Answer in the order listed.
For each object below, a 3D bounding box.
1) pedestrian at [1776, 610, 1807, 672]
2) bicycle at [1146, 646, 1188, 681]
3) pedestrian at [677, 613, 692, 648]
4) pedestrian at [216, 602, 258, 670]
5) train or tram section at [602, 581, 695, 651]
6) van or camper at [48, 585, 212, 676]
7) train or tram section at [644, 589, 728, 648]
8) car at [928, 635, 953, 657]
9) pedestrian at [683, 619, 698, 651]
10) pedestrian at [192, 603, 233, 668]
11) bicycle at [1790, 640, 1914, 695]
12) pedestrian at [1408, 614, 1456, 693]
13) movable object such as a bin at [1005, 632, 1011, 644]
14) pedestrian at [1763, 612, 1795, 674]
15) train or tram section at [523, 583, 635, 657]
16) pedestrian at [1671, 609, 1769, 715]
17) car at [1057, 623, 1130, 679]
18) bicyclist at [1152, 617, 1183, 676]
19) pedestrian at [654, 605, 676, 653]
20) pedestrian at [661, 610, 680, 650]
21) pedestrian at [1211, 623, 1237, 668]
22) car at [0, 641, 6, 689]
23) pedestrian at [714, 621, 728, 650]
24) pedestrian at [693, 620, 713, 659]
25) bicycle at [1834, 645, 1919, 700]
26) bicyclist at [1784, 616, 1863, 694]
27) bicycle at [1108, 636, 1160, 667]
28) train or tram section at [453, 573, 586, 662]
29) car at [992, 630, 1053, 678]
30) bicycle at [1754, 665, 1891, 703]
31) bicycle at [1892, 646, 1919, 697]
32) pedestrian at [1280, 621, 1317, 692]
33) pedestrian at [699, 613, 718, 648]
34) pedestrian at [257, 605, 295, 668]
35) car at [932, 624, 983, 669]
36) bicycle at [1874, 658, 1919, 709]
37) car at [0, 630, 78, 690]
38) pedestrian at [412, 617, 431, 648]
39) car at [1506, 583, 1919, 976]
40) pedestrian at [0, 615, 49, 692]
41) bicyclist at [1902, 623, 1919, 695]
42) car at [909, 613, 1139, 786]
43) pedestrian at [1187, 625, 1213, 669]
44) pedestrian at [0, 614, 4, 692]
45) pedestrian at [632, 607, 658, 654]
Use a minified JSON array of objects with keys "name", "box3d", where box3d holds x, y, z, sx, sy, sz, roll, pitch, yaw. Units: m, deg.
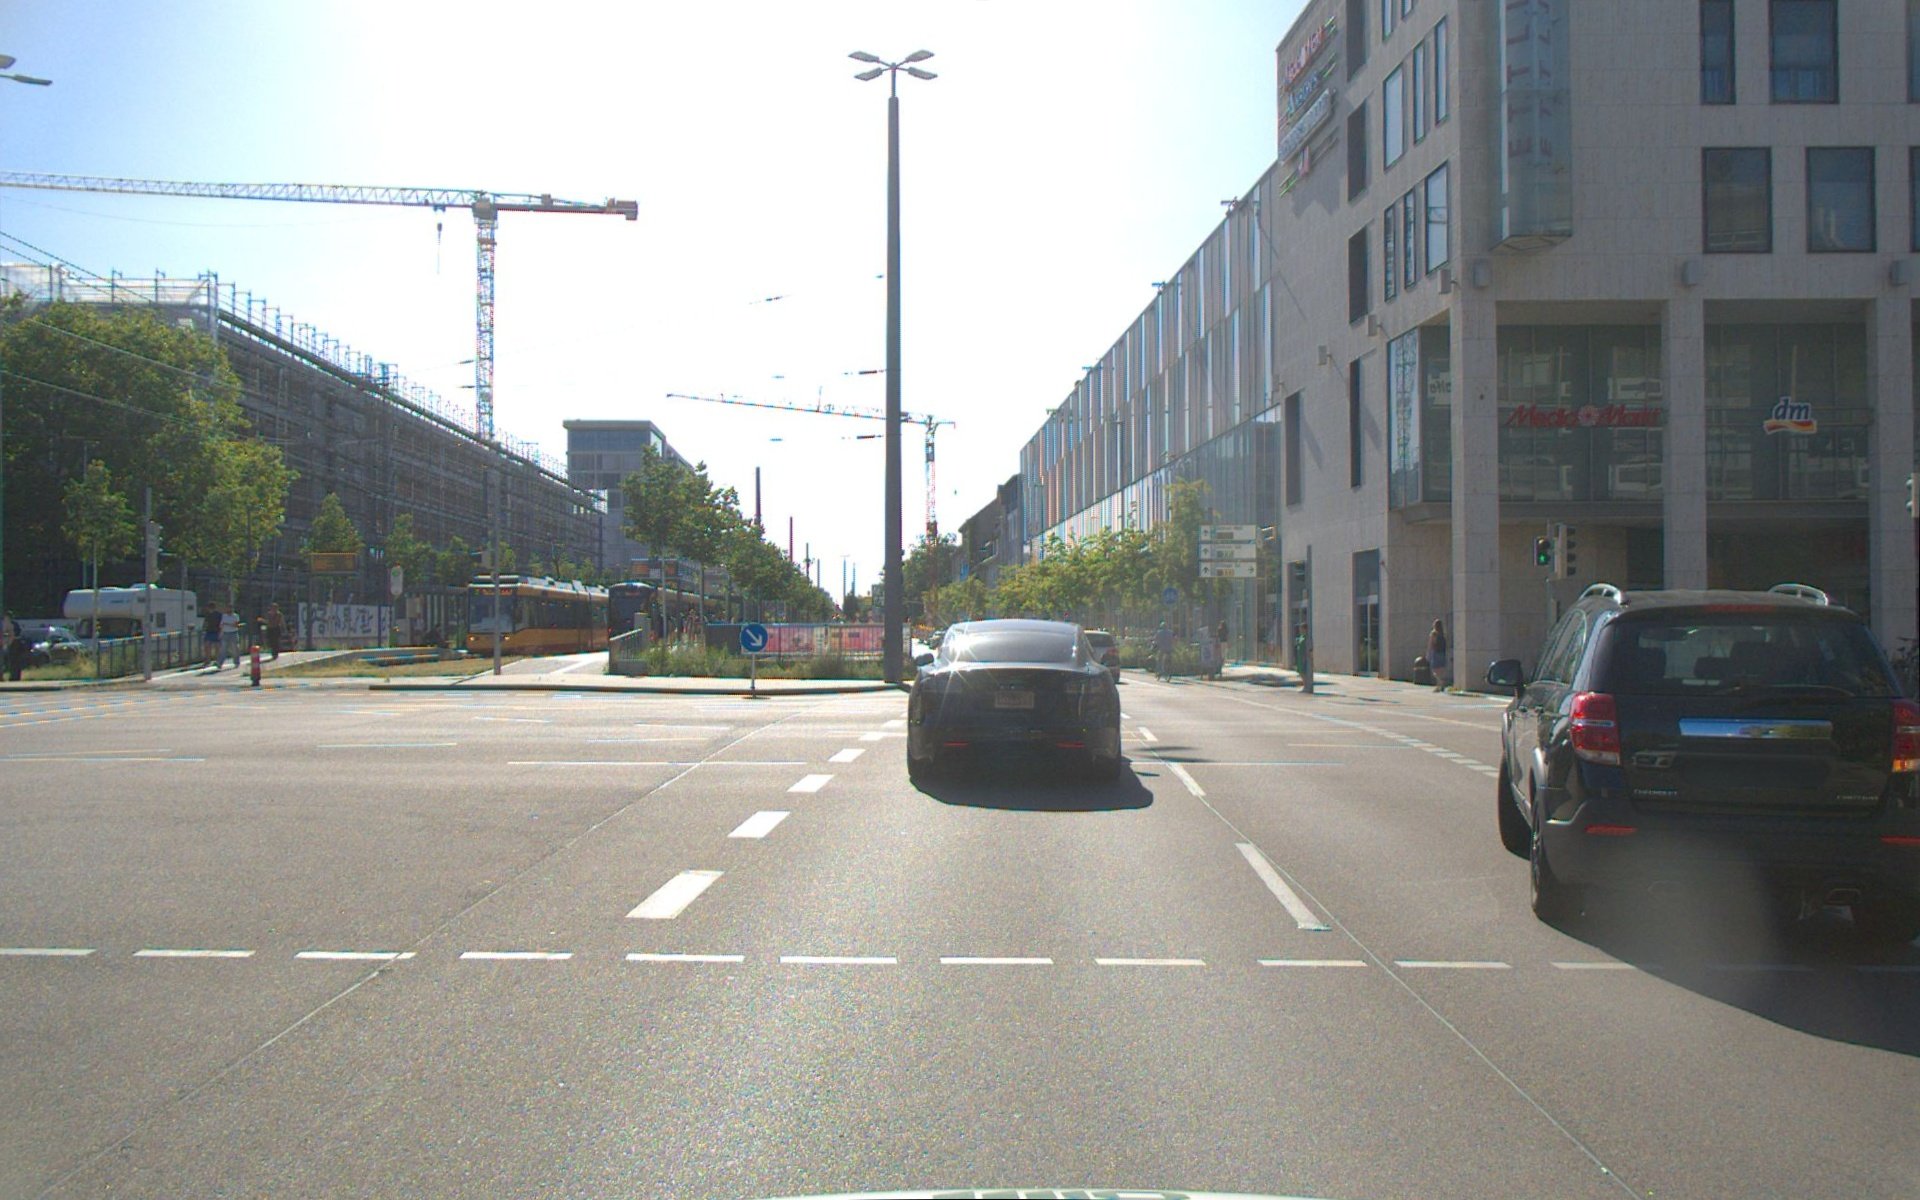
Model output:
[{"name":"pedestrian","box3d":[24.627,1.206,48.972,0.551,1.793,0.641,0,-1,-39]},{"name":"bicycle","box3d":[6.335,1.939,50.659,0.715,1.001,2.329,2,-2,-7]},{"name":"pedestrian","box3d":[-14.284,1.579,85.642,0.658,1.842,1.074,0,-1,-4]},{"name":"pedestrian","box3d":[-20.012,0.996,45.772,0.784,1.855,0.975,0,-1,-6]},{"name":"train or tram section","box3d":[-16.390,0.897,88.275,2.813,3.337,15.173,2,-1,-3]},{"name":"van or camper","box3d":[-29.070,1.062,58.294,2.554,2.989,7.335,0,-1,-4]},{"name":"train or tram section","box3d":[-17.433,1.246,106.885,2.813,3.337,22.126,2,-1,-3]},{"name":"car","box3d":[-1.502,3.512,126.298,1.849,1.624,3.999,0,-1,0]},{"name":"pedestrian","box3d":[-13.189,1.728,81.000,0.635,1.539,0.587,2,-1,-6]},{"name":"pedestrian","box3d":[-21.477,1.010,47.542,0.784,1.855,0.975,0,-1,-6]},{"name":"bicycle","box3d":[19.412,1.450,36.082,1.044,1.113,2.990,0,-1,-1]},{"name":"pedestrian","box3d":[11.218,1.259,39.340,0.713,1.833,1.065,-2,-1,-3]},{"name":"movable object such as a bin","box3d":[4.636,3.676,160.100,0.547,1.190,0.562,1,-2,0]},{"name":"pedestrian","box3d":[23.956,1.250,48.373,0.551,1.793,0.641,0,-1,-39]},{"name":"train or tram section","box3d":[-19.375,1.086,85.273,2.791,3.380,15.954,2,-1,-3]},{"name":"pedestrian","box3d":[13.856,1.116,30.199,0.948,1.833,1.522,-2,-1,-3]},{"name":"car","box3d":[3.953,1.496,49.632,1.748,1.573,4.037,0,-1,-2]},{"name":"bicyclist","box3d":[6.351,1.413,50.562,0.711,1.767,0.996,0,-1,-7]},{"name":"pedestrian","box3d":[-11.231,1.087,63.008,0.689,1.806,0.958,1,-1,-6]},{"name":"pedestrian","box3d":[-13.315,1.354,76.076,0.775,1.806,0.977,2,-1,-6]},{"name":"pedestrian","box3d":[10.257,1.769,64.249,0.693,1.687,0.899,-2,-1,-7]},{"name":"car","box3d":[-32.660,2.152,52.998,1.956,1.588,4.820,0,-1,-8]},{"name":"pedestrian","box3d":[-14.028,2.080,97.270,0.726,1.657,0.861,0,-1,-2]},{"name":"pedestrian","box3d":[-11.009,1.674,70.783,0.726,1.657,0.861,0,-1,-2]},{"name":"bicycle","box3d":[20.559,1.554,36.115,1.044,1.113,3.496,0,-1,-1]},{"name":"bicyclist","box3d":[17.046,1.074,32.676,1.001,1.502,1.072,0,-1,1]},{"name":"bicycle","box3d":[7.244,2.150,68.934,2.042,1.227,0.950,-2,-1,3]},{"name":"train or tram section","box3d":[-18.594,0.797,70.808,2.813,3.368,13.063,2,-1,-3]},{"name":"car","box3d":[1.989,1.722,53.629,1.682,1.457,3.998,0,-1,-2]},{"name":"bicycle","box3d":[17.011,1.654,32.652,2.148,0.683,1.072,0,-1,1]},{"name":"bicycle","box3d":[21.709,1.567,35.812,1.044,1.113,3.496,0,-1,-1]},{"name":"pedestrian","box3d":[8.393,1.396,41.026,0.644,1.732,0.697,-2,-1,-5]},{"name":"pedestrian","box3d":[-13.393,1.635,88.161,0.869,1.883,1.006,0,-1,-3]},{"name":"pedestrian","box3d":[-20.469,1.090,49.503,0.784,1.855,0.975,0,-1,-6]},{"name":"car","box3d":[-0.106,1.741,62.804,1.849,1.624,3.999,0,-1,0]},{"name":"bicycle","box3d":[19.472,1.643,32.765,2.148,0.960,1.072,0,-1,1]},{"name":"car","box3d":[-28.698,1.769,50.051,1.907,1.737,4.363,0,-1,-4]},{"name":"pedestrian","box3d":[-22.544,1.356,69.251,0.658,1.248,0.505,2,-2,-6]},{"name":"car","box3d":[4.218,0.817,9.577,1.746,1.729,4.415,0,-1,15]},{"name":"pedestrian","box3d":[-23.058,1.304,40.692,0.784,1.855,0.975,0,-1,-6]},{"name":"bicyclist","box3d":[19.431,1.171,32.769,0.914,1.420,1.076,0,-1,1]},{"name":"car","box3d":[0.487,0.888,16.320,1.959,1.459,4.410,1,-1,-2]},{"name":"pedestrian","box3d":[9.342,1.829,64.496,0.805,1.687,0.899,0,-1,-7]},{"name":"pedestrian","box3d":[-23.217,1.253,39.021,0.785,1.855,0.880,-1,-1,29]},{"name":"pedestrian","box3d":[-12.554,1.214,65.984,0.857,1.806,1.187,2,-1,-6]}]
